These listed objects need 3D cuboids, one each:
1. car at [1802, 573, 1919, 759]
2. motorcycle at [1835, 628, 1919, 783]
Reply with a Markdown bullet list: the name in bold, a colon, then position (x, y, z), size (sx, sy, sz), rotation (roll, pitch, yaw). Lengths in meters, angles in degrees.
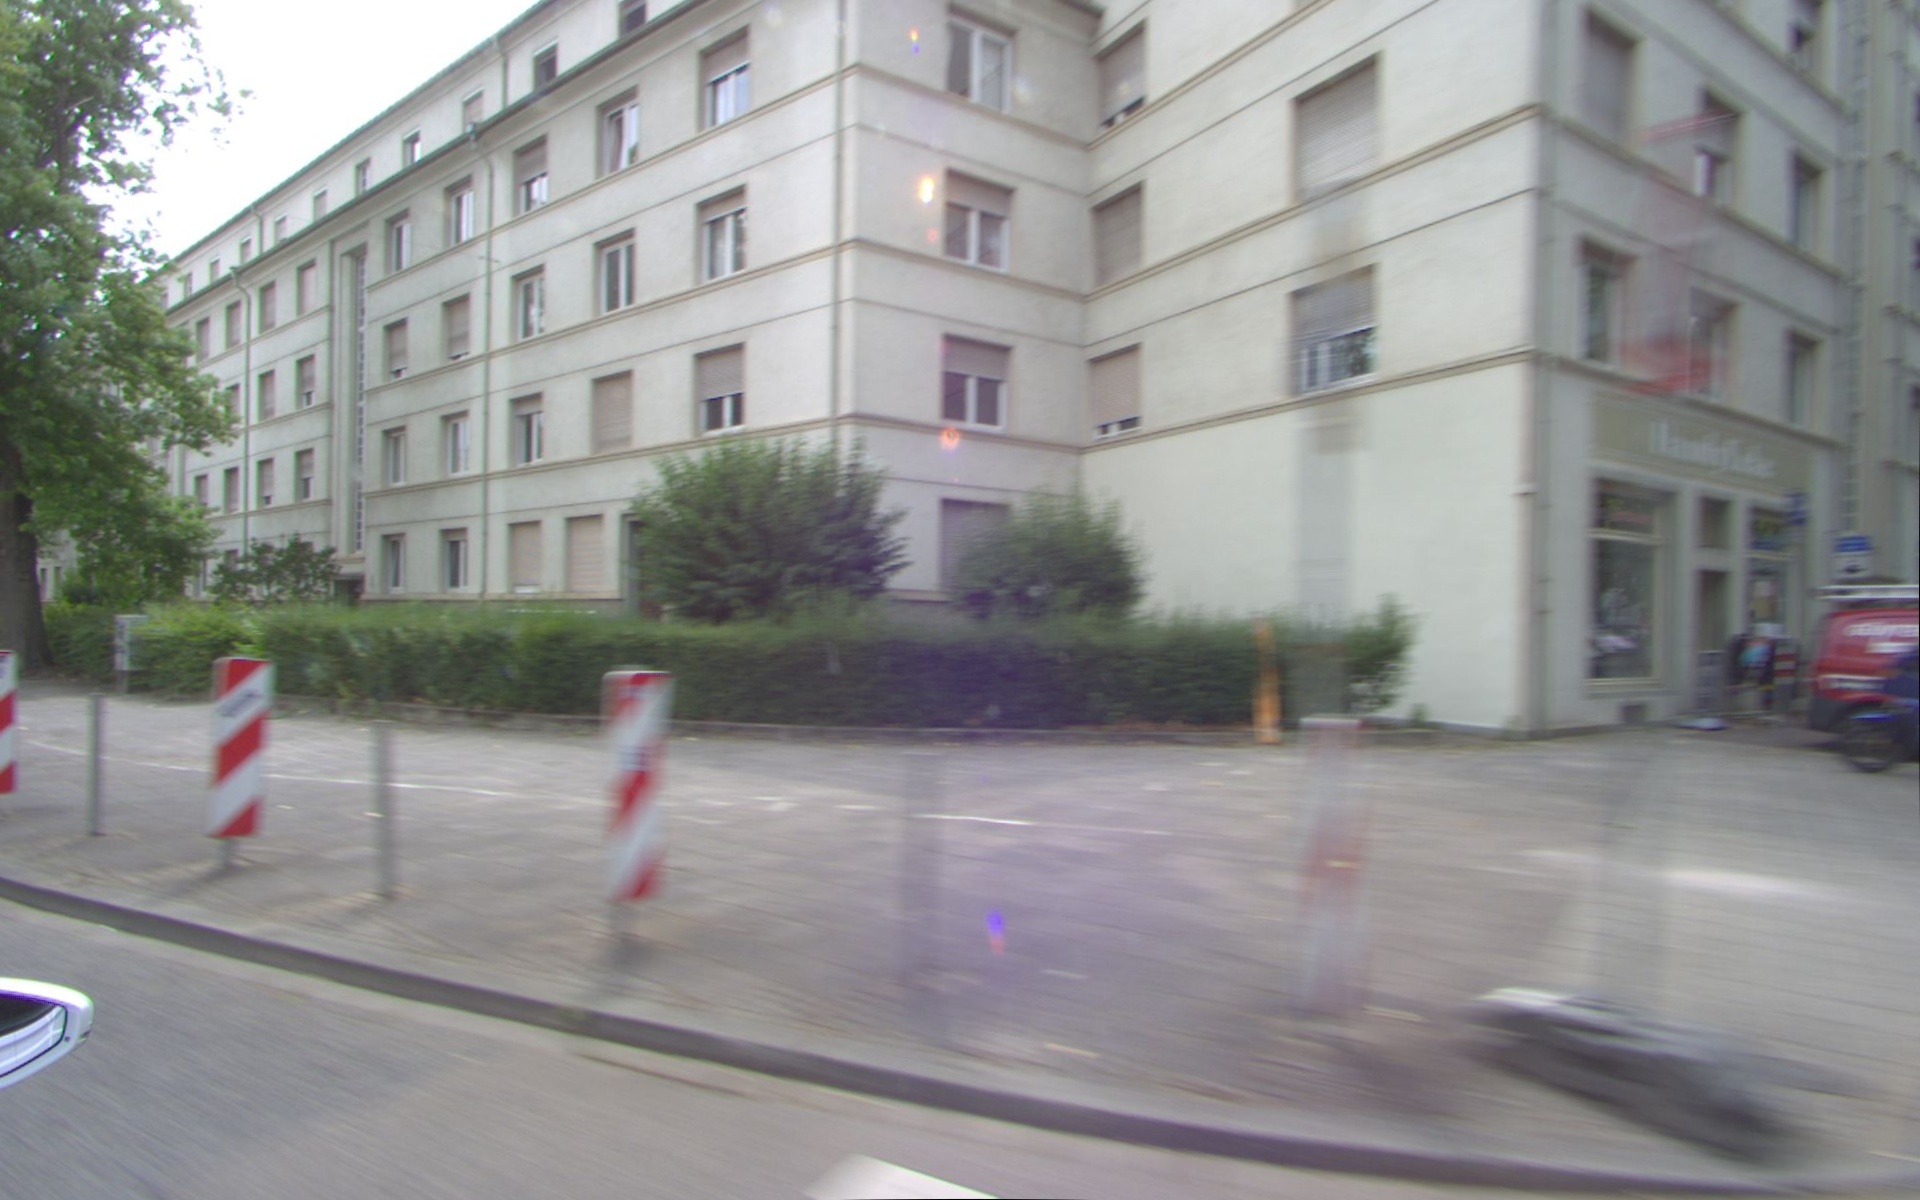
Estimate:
- **car**: position (12.793, 0.781, 11.210), size (1.974, 2.177, 4.814), rotation (2, -2, -33)
- **motorcycle**: position (9.976, 1.048, 9.618), size (0.827, 1.481, 2.282), rotation (1, 0, -44)
